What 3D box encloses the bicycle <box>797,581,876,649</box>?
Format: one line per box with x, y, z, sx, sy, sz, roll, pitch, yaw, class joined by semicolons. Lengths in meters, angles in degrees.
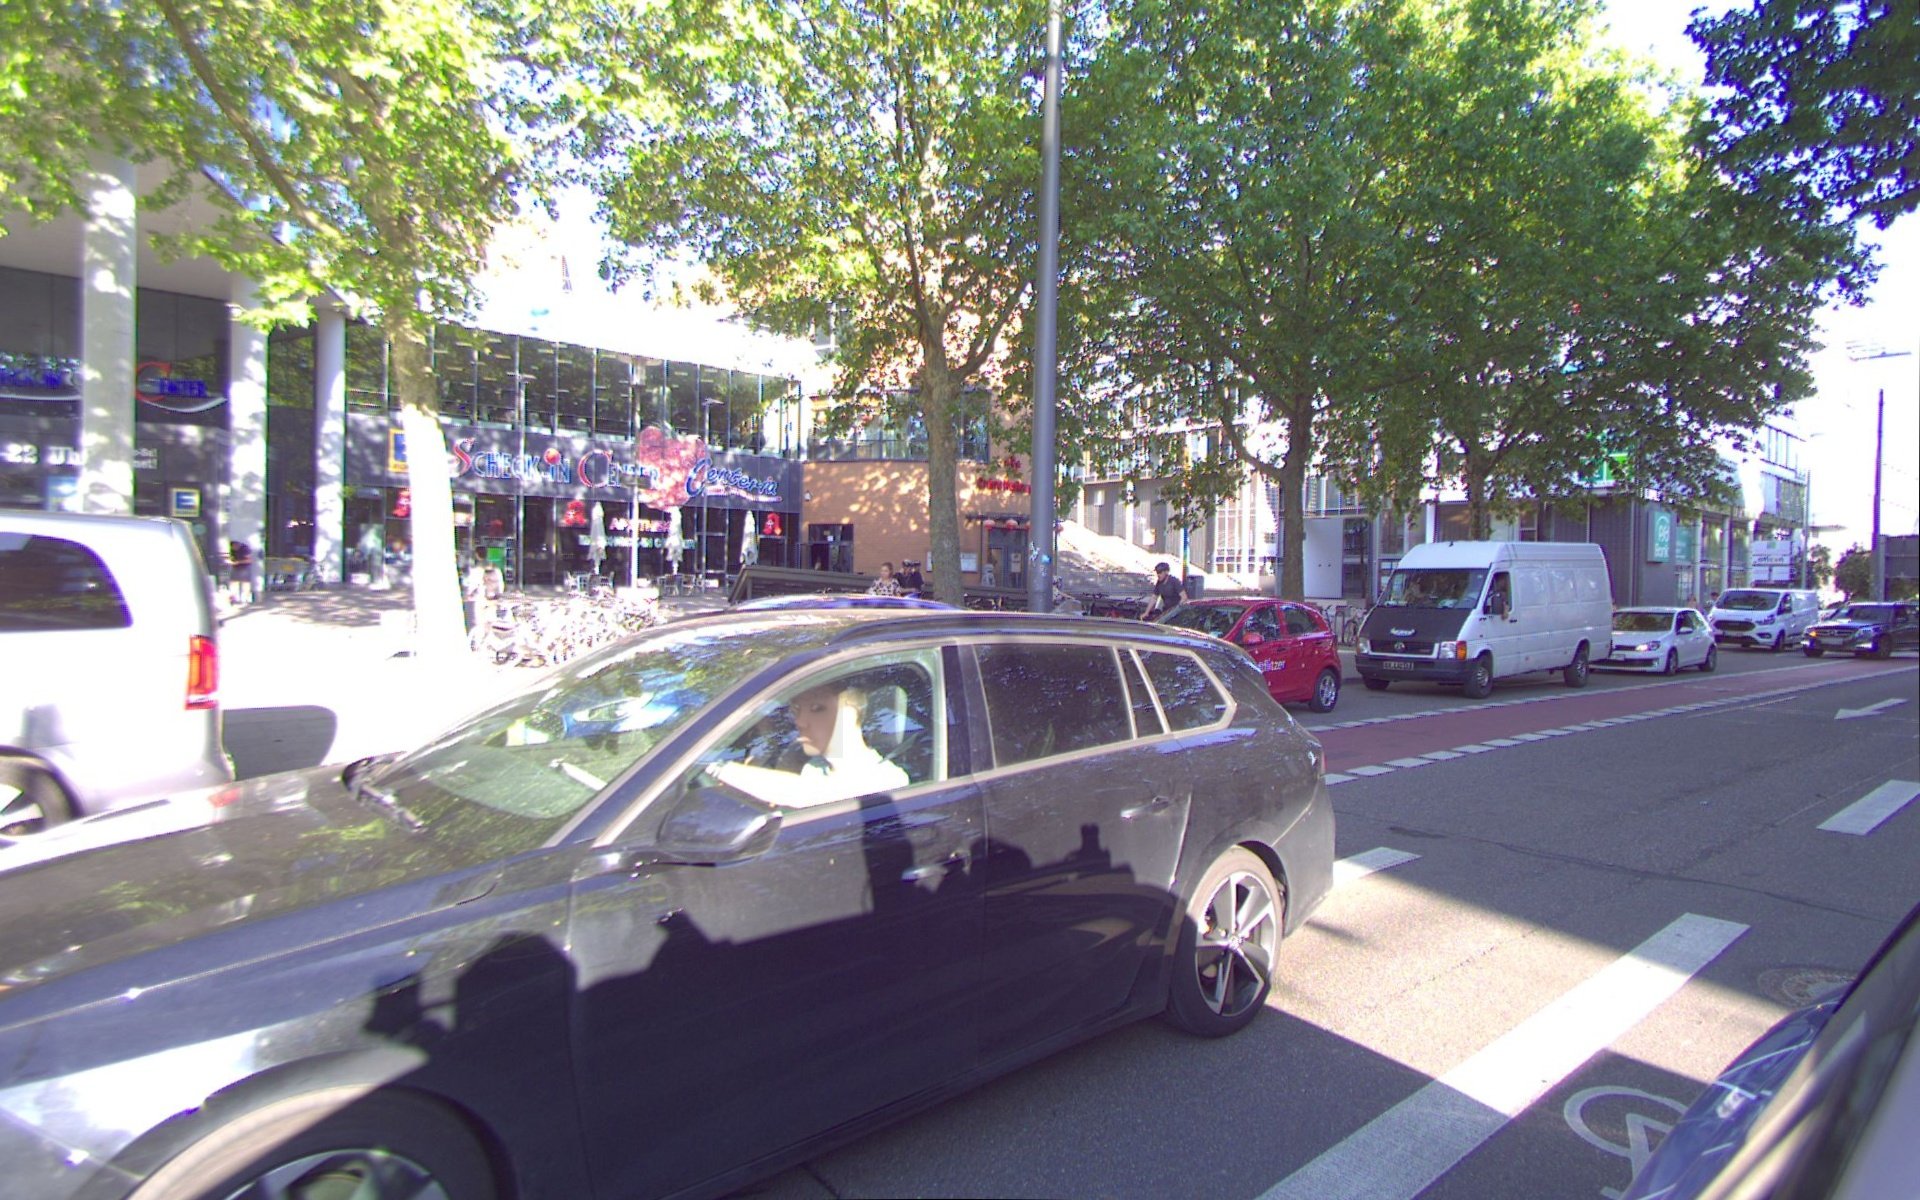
-2.215;0.253;18.253;0.478;1.174;1.455;2;1;41;bicycle

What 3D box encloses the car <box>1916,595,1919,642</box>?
34.568;0.645;34.747;3.924;1.593;1.762;0;2;-35;car

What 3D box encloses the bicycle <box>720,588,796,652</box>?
-3.850;0.361;19.358;0.420;1.174;1.455;2;1;41;bicycle

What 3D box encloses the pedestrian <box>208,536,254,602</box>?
-18.873;-0.806;26.196;0.851;1.661;0.966;0;1;-44;pedestrian

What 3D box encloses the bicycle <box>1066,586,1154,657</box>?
2.891;0.387;19.378;1.843;1.280;0.596;0;1;-41;bicycle

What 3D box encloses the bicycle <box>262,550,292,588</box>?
-21.423;-0.973;31.756;0.705;1.142;1.921;1;2;-32;bicycle

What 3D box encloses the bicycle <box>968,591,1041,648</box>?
0.947;0.395;21.355;1.626;1.151;0.503;0;1;-41;bicycle

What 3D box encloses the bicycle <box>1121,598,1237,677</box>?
3.405;0.543;15.620;2.088;1.135;0.551;0;1;-39;bicycle

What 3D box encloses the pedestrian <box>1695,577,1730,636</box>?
26.383;0.215;35.505;0.652;2.039;0.809;0;0;-34;pedestrian

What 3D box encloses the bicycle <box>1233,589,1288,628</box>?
8.459;0.234;28.458;1.624;1.060;0.597;0;1;-37;bicycle

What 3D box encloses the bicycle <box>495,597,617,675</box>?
-5.701;0.484;14.338;1.546;1.038;0.461;0;2;-43;bicycle

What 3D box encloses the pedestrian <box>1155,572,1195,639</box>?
5.426;0.134;25.597;0.623;1.651;0.719;1;1;-34;pedestrian

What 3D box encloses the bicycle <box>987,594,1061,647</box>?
1.328;0.415;20.922;1.626;1.044;0.503;0;1;-41;bicycle

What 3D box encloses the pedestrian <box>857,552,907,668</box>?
-1.257;0.145;16.241;0.644;1.808;0.810;1;1;-14;pedestrian

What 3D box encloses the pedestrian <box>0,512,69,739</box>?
-7.919;0.189;8.372;0.794;1.808;0.873;0;1;-41;pedestrian

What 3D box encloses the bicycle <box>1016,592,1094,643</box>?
2.262;0.396;24.124;1.757;1.140;0.564;2;1;22;bicycle

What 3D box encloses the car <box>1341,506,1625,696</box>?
9.259;0.007;17.574;6.443;2.759;1.998;0;0;-39;car

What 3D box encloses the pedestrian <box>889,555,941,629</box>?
-1.105;-0.215;24.958;1.000;1.779;0.789;0;1;-35;pedestrian

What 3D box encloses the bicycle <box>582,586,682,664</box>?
-5.162;0.369;15.982;1.451;1.174;0.421;0;1;-42;bicycle

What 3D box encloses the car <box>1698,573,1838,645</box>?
26.262;0.248;32.837;5.189;2.160;2.130;0;2;-35;car

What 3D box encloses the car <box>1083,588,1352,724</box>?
3.337;0.599;12.821;3.558;1.482;1.561;0;1;-41;car

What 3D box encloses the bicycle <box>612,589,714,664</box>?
-4.533;0.386;15.493;1.451;1.095;0.421;0;1;-42;bicycle

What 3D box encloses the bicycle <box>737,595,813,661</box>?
-3.460;0.497;18.999;0.420;1.174;1.455;2;1;41;bicycle

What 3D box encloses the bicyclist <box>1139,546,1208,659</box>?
3.337;0.020;15.827;0.701;1.709;0.752;1;1;-36;bicyclist

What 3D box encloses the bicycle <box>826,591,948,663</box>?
-1.207;0.445;16.590;1.908;1.130;0.598;1;1;-13;bicycle

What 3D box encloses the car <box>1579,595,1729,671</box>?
15.363;0.673;22.348;3.798;1.482;1.671;0;2;-38;car

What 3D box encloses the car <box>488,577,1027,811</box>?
-1.539;0.586;8.569;4.143;1.482;1.768;0;2;-41;car

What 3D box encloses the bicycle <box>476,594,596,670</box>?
-6.158;0.440;14.739;1.546;1.038;0.461;0;2;-43;bicycle

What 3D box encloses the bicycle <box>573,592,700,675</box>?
-4.448;0.441;13.964;1.542;1.070;0.630;0;1;-35;bicycle

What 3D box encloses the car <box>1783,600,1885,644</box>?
31.330;0.749;36.249;3.944;1.437;1.788;0;2;-34;car

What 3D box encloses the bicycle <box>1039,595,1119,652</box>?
2.346;0.437;19.827;1.626;1.044;0.596;0;2;-41;bicycle

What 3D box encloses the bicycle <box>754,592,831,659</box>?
-3.066;0.447;18.663;0.420;1.174;1.455;2;1;41;bicycle

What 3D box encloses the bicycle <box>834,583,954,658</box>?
-1.038;0.325;15.901;1.788;1.130;0.598;1;1;-13;bicycle

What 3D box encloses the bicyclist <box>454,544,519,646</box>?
-8.519;-0.096;18.250;0.835;1.789;0.753;1;1;-5;bicyclist

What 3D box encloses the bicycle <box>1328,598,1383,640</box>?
10.638;0.496;27.177;1.624;1.060;0.597;0;1;-37;bicycle

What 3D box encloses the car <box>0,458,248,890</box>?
-6.265;0.339;4.392;5.047;1.991;1.997;0;0;-41;car

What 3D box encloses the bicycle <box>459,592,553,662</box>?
-6.948;0.404;15.521;1.293;1.038;0.397;1;1;-24;bicycle

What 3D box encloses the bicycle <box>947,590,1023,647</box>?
0.549;0.375;21.733;1.662;1.174;0.479;0;1;-37;bicycle

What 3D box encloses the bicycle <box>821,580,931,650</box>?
-1.442;0.254;17.256;1.788;1.130;0.598;1;1;-13;bicycle

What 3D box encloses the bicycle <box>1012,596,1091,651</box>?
1.849;0.460;20.344;1.626;1.044;0.596;0;2;-41;bicycle

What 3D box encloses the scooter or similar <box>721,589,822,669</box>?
-2.927;0.440;15.719;1.249;1.156;0.905;-2;0;37;scooter or similar

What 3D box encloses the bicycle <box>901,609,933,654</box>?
-0.801;0.571;18.810;0.391;0.770;1.114;1;1;-13;bicycle

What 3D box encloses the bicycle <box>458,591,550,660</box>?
-7.172;0.394;15.956;1.293;1.038;0.397;1;1;-24;bicycle

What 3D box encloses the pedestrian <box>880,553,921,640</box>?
-1.250;-0.078;21.161;0.755;1.779;0.821;1;1;-7;pedestrian

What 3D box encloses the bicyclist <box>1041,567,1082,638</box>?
2.414;0.053;24.059;0.812;1.636;0.560;2;1;22;bicyclist

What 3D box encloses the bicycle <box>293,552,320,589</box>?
-20.799;-0.952;32.228;0.705;1.142;1.921;1;2;-32;bicycle

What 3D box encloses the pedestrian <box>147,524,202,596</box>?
-21.011;-1.066;27.084;0.834;1.866;1.002;1;1;-15;pedestrian

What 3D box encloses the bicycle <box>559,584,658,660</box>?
-5.686;0.346;16.411;1.450;1.174;0.421;0;1;-40;bicycle

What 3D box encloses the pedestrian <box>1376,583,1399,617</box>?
18.933;0.004;44.820;0.589;1.474;0.713;1;1;-37;pedestrian

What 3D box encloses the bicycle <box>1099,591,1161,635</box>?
4.551;0.333;27.042;1.622;1.140;0.598;0;1;-32;bicycle

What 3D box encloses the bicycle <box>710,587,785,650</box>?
-4.141;0.339;19.808;0.420;1.174;1.455;2;1;41;bicycle

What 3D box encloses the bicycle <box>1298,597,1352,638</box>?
10.054;0.471;27.835;1.624;1.060;0.597;0;1;-37;bicycle

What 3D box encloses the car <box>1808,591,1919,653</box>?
26.595;0.606;29.050;3.937;1.658;1.791;1;1;-23;car

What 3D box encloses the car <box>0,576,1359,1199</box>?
-0.672;0.683;3.174;4.270;1.443;1.825;0;0;-41;car
